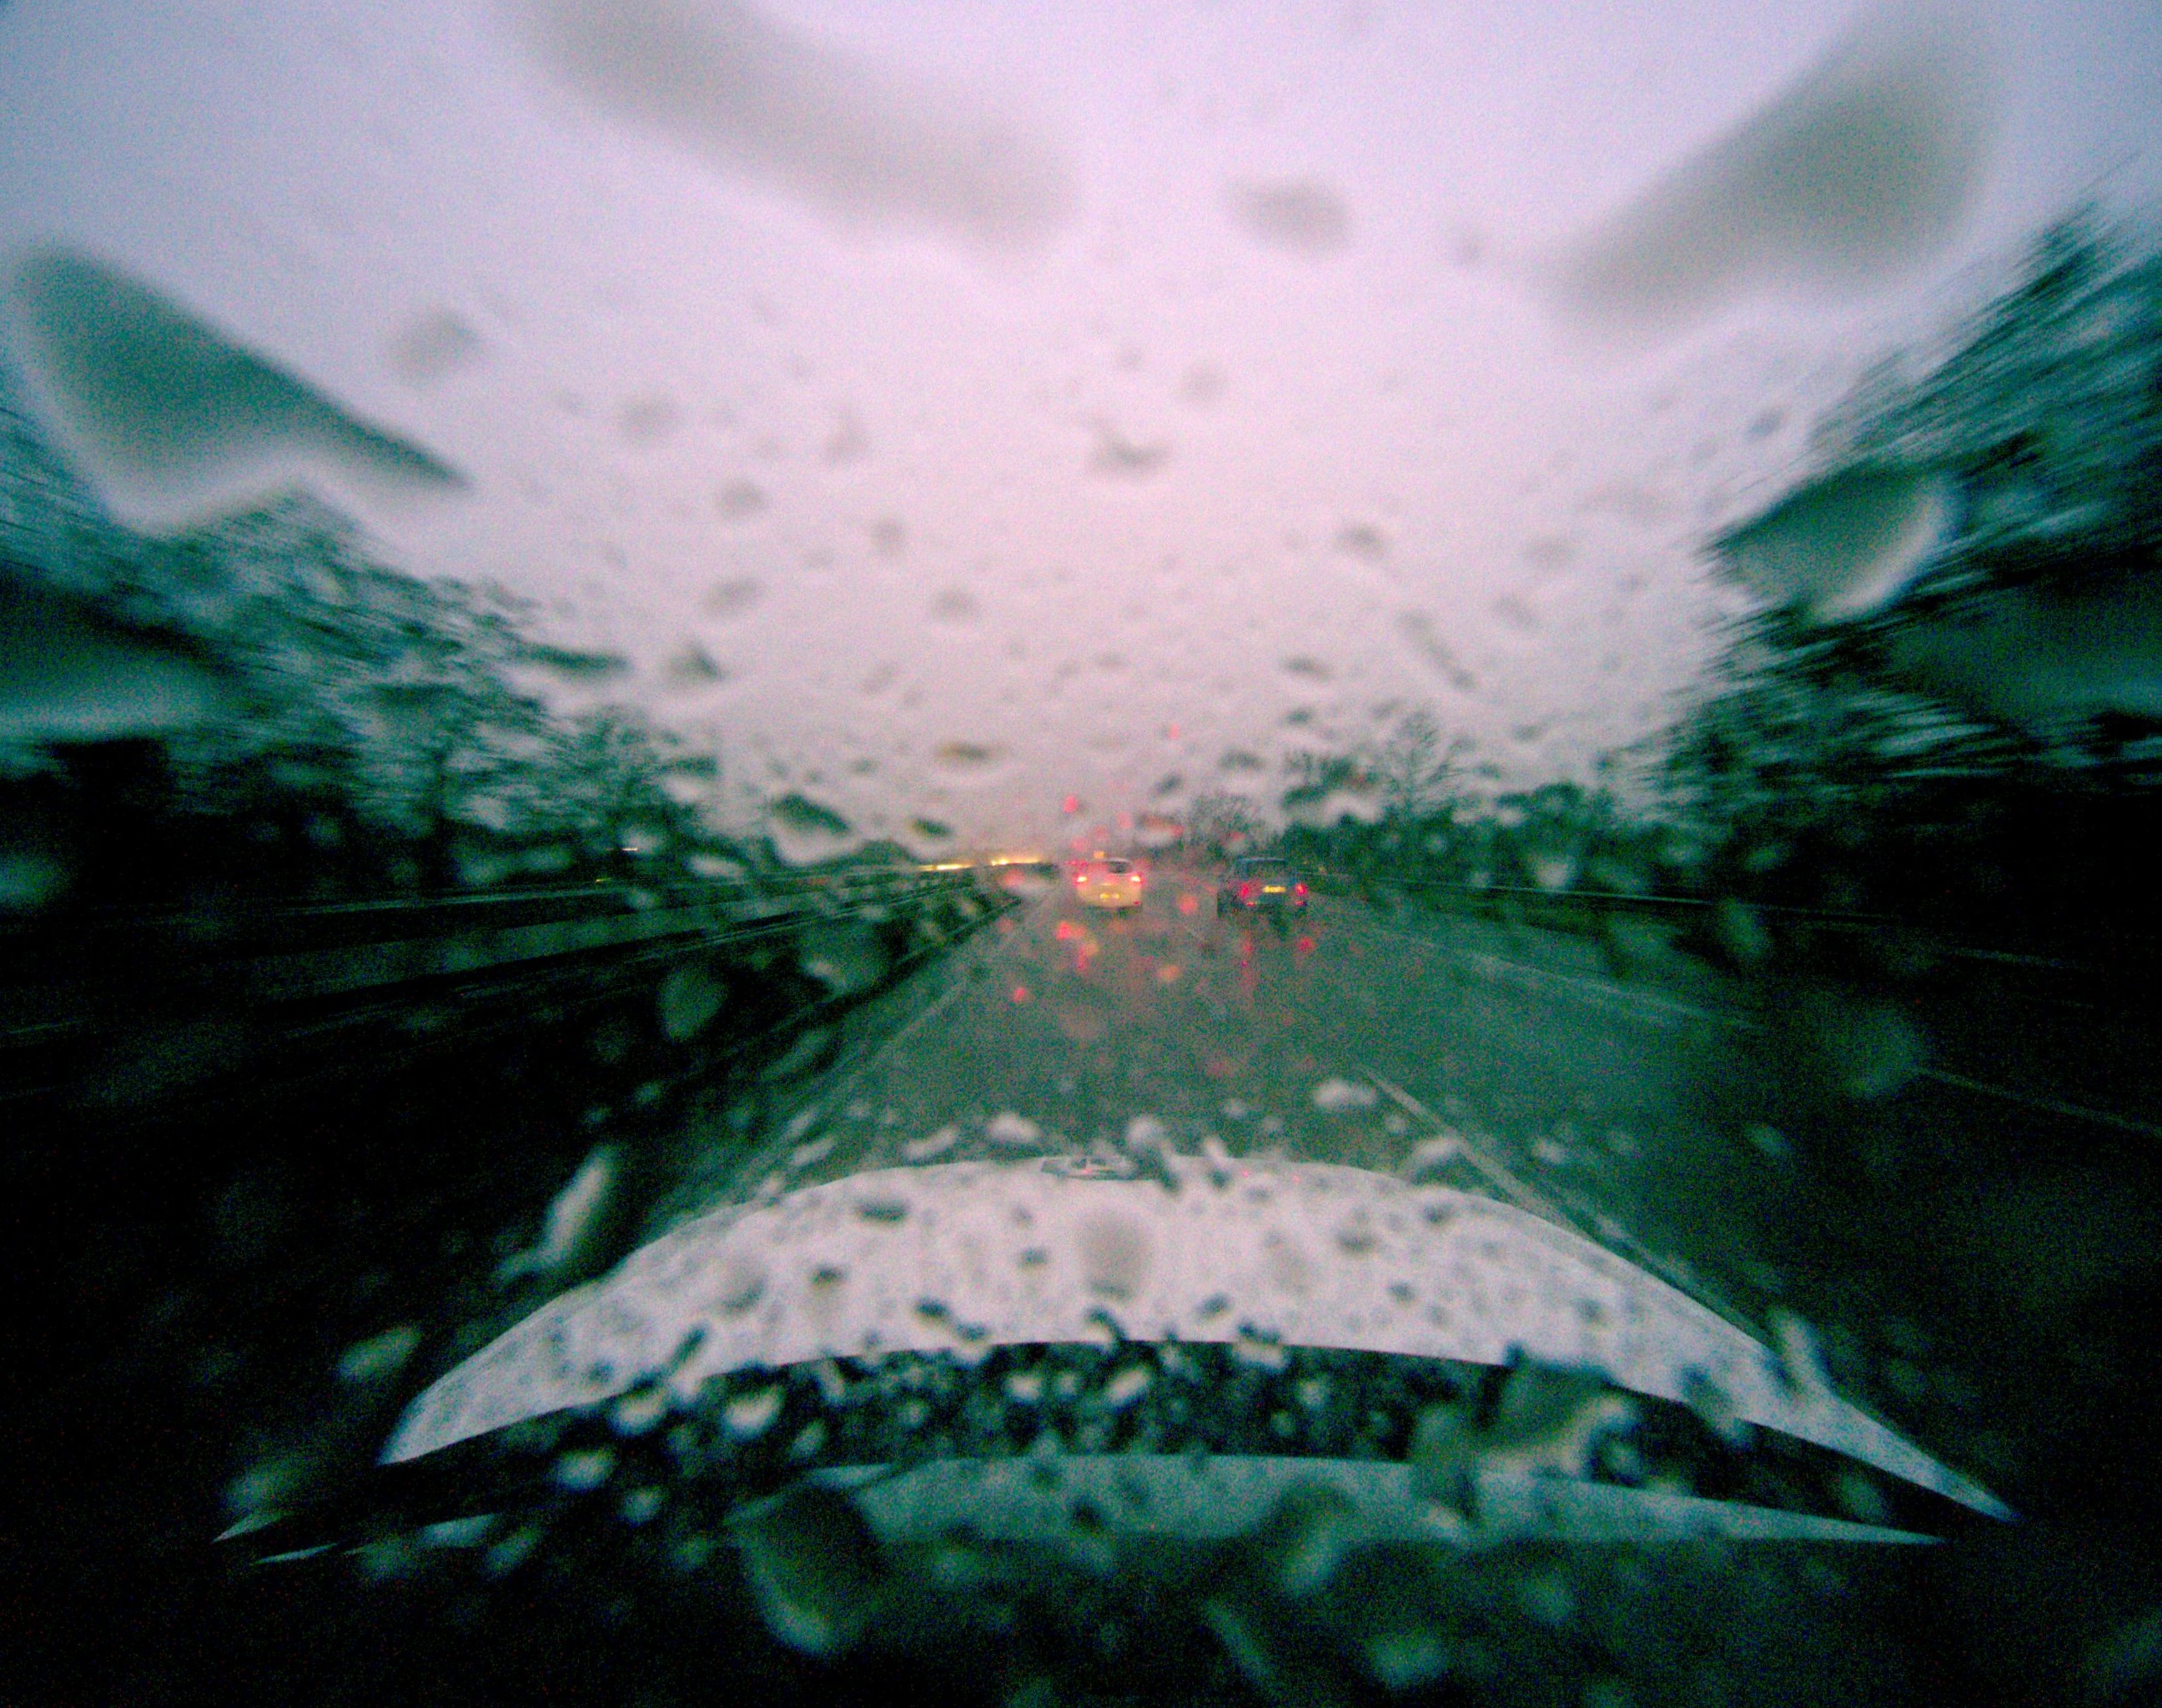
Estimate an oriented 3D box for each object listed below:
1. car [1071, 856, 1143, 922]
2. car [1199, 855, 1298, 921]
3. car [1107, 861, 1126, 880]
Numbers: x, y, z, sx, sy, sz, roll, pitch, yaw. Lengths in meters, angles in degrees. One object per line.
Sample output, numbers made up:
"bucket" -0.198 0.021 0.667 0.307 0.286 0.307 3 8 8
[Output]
"car" 0.687 0.891 22.586 1.839 1.636 3.768 -1 0 1
"car" 4.062 0.775 20.356 1.837 1.453 4.152 -1 0 3
"car" 3.919 1.796 89.510 1.866 1.904 4.003 5 -1 4
